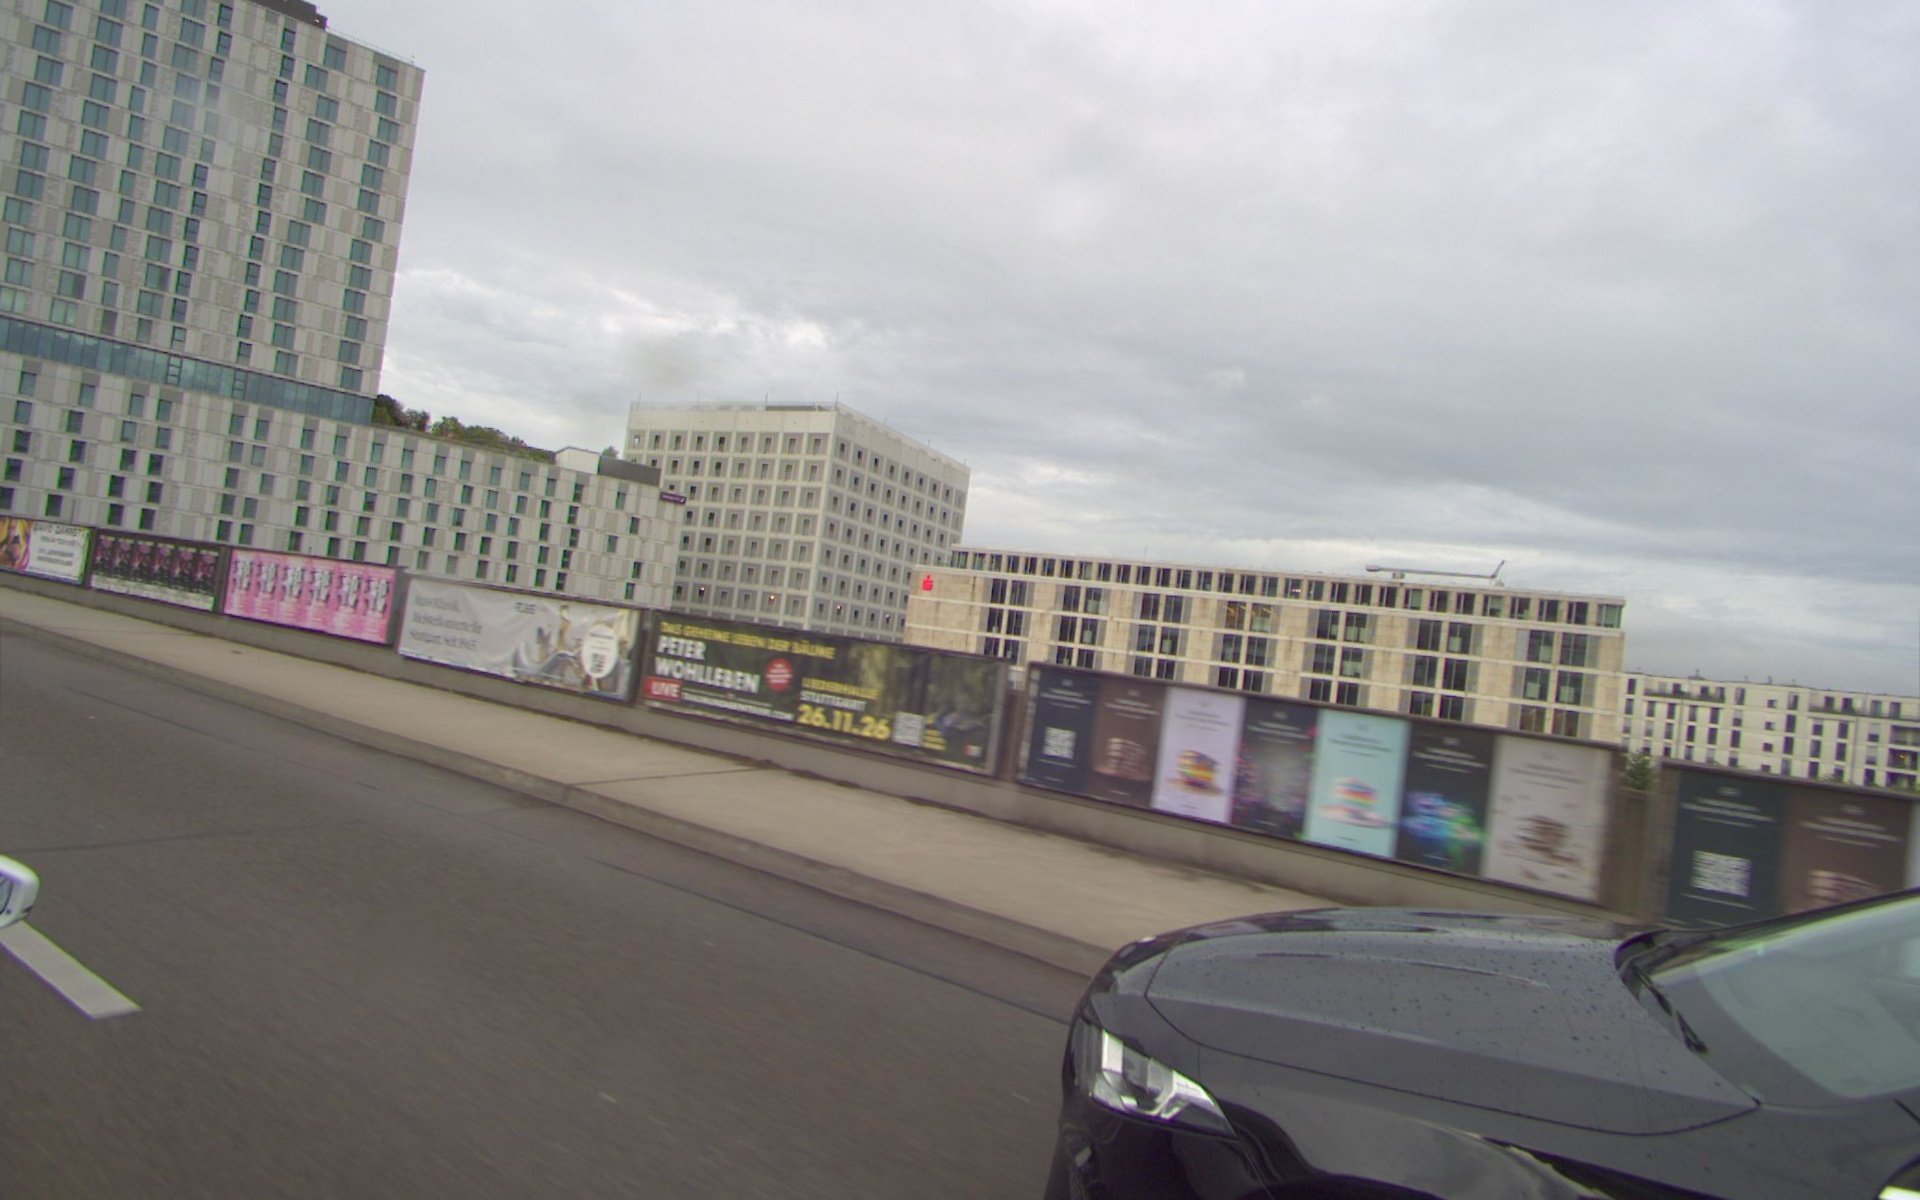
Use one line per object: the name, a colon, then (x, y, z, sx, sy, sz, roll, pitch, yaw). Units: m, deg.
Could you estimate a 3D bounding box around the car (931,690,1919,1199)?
car: (2.148, 1.116, 1.679, 4.086, 1.392, 1.726, 5, -2, 31)
